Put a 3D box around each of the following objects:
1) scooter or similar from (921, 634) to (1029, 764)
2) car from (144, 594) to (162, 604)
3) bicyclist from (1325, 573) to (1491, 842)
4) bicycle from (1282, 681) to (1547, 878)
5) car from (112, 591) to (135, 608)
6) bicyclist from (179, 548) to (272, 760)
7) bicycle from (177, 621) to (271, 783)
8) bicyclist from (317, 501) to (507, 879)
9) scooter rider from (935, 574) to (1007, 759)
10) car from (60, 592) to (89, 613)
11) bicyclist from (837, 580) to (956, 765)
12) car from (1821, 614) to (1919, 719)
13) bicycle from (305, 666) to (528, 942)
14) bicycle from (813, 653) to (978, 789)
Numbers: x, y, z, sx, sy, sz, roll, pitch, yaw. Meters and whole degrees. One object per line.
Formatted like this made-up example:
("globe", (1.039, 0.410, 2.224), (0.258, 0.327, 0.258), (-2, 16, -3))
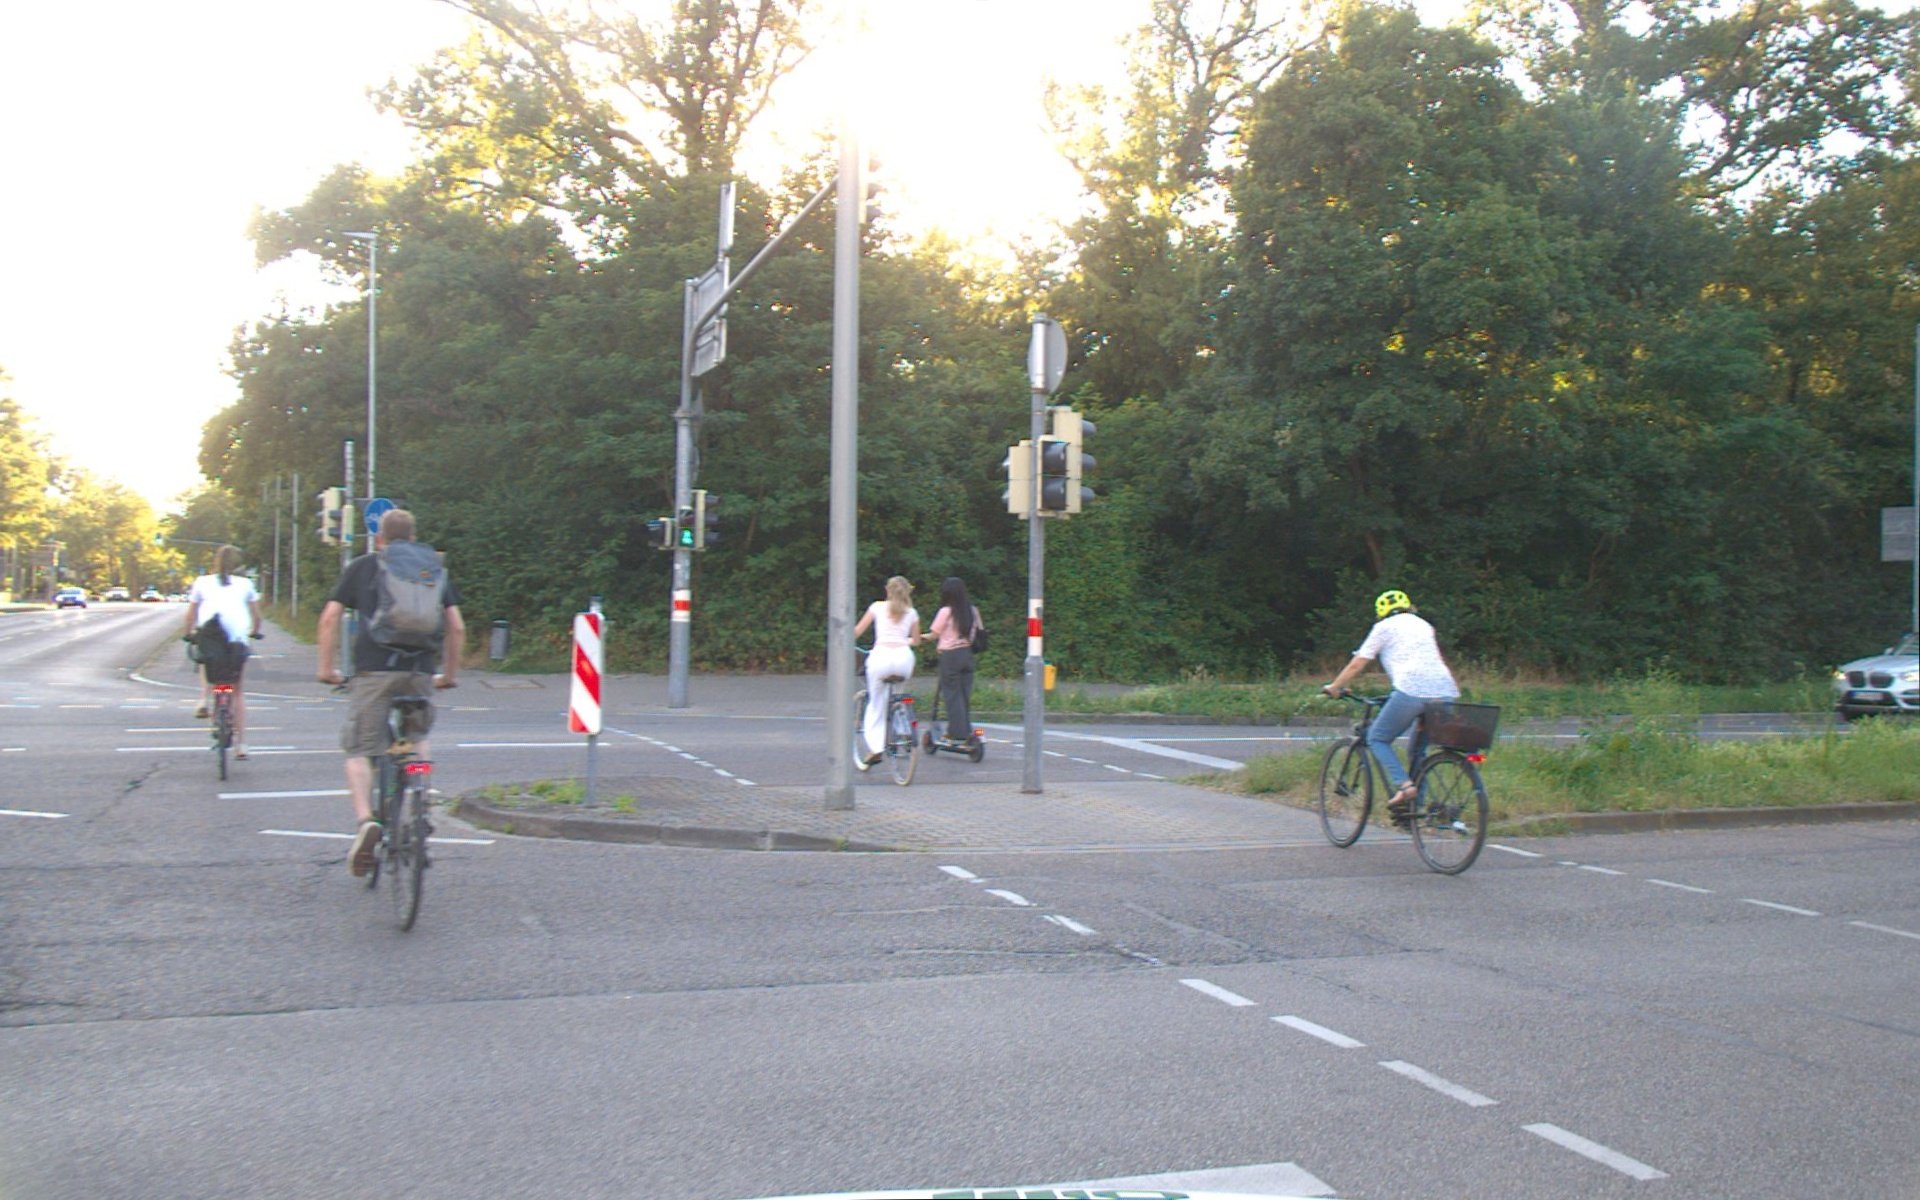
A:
("scooter or similar", (0.133, 0.958, 16.374), (0.554, 1.210, 1.412), (1, -1, -22))
("car", (-103.502, -0.100, 212.149), (1.969, 1.288, 3.967), (1, 0, -26))
("bicyclist", (2.794, 0.640, 10.357), (0.547, 1.597, 0.891), (1, -1, -26))
("bicycle", (2.791, 1.067, 10.351), (0.557, 1.032, 1.787), (1, 0, -26))
("car", (-81.901, -0.071, 161.979), (1.970, 1.668, 3.965), (1, 0, -27))
("bicyclist", (-5.820, 0.418, 13.127), (0.595, 1.613, 0.903), (2, -1, -24))
("bicycle", (-5.826, 0.771, 13.129), (0.605, 1.158, 1.870), (2, -1, -23))
("bicyclist", (-2.642, 0.412, 7.942), (0.690, 1.696, 0.791), (2, -1, -28))
("scooter rider", (0.107, 0.651, 16.449), (0.557, 1.797, 0.501), (1, -1, -23))
("car", (-63.660, 0.173, 118.985), (1.749, 1.500, 3.742), (1, 0, -27))
("bicyclist", (-0.560, 0.613, 14.390), (0.749, 1.544, 0.850), (2, -1, -24))
("car", (16.752, 1.117, 27.451), (4.559, 1.642, 1.816), (1, -3, -21))
("bicycle", (-2.638, 0.898, 7.898), (0.690, 1.081, 1.808), (2, -1, -28))
("bicycle", (-0.603, 1.020, 14.465), (0.760, 1.024, 2.002), (2, -1, -23))
